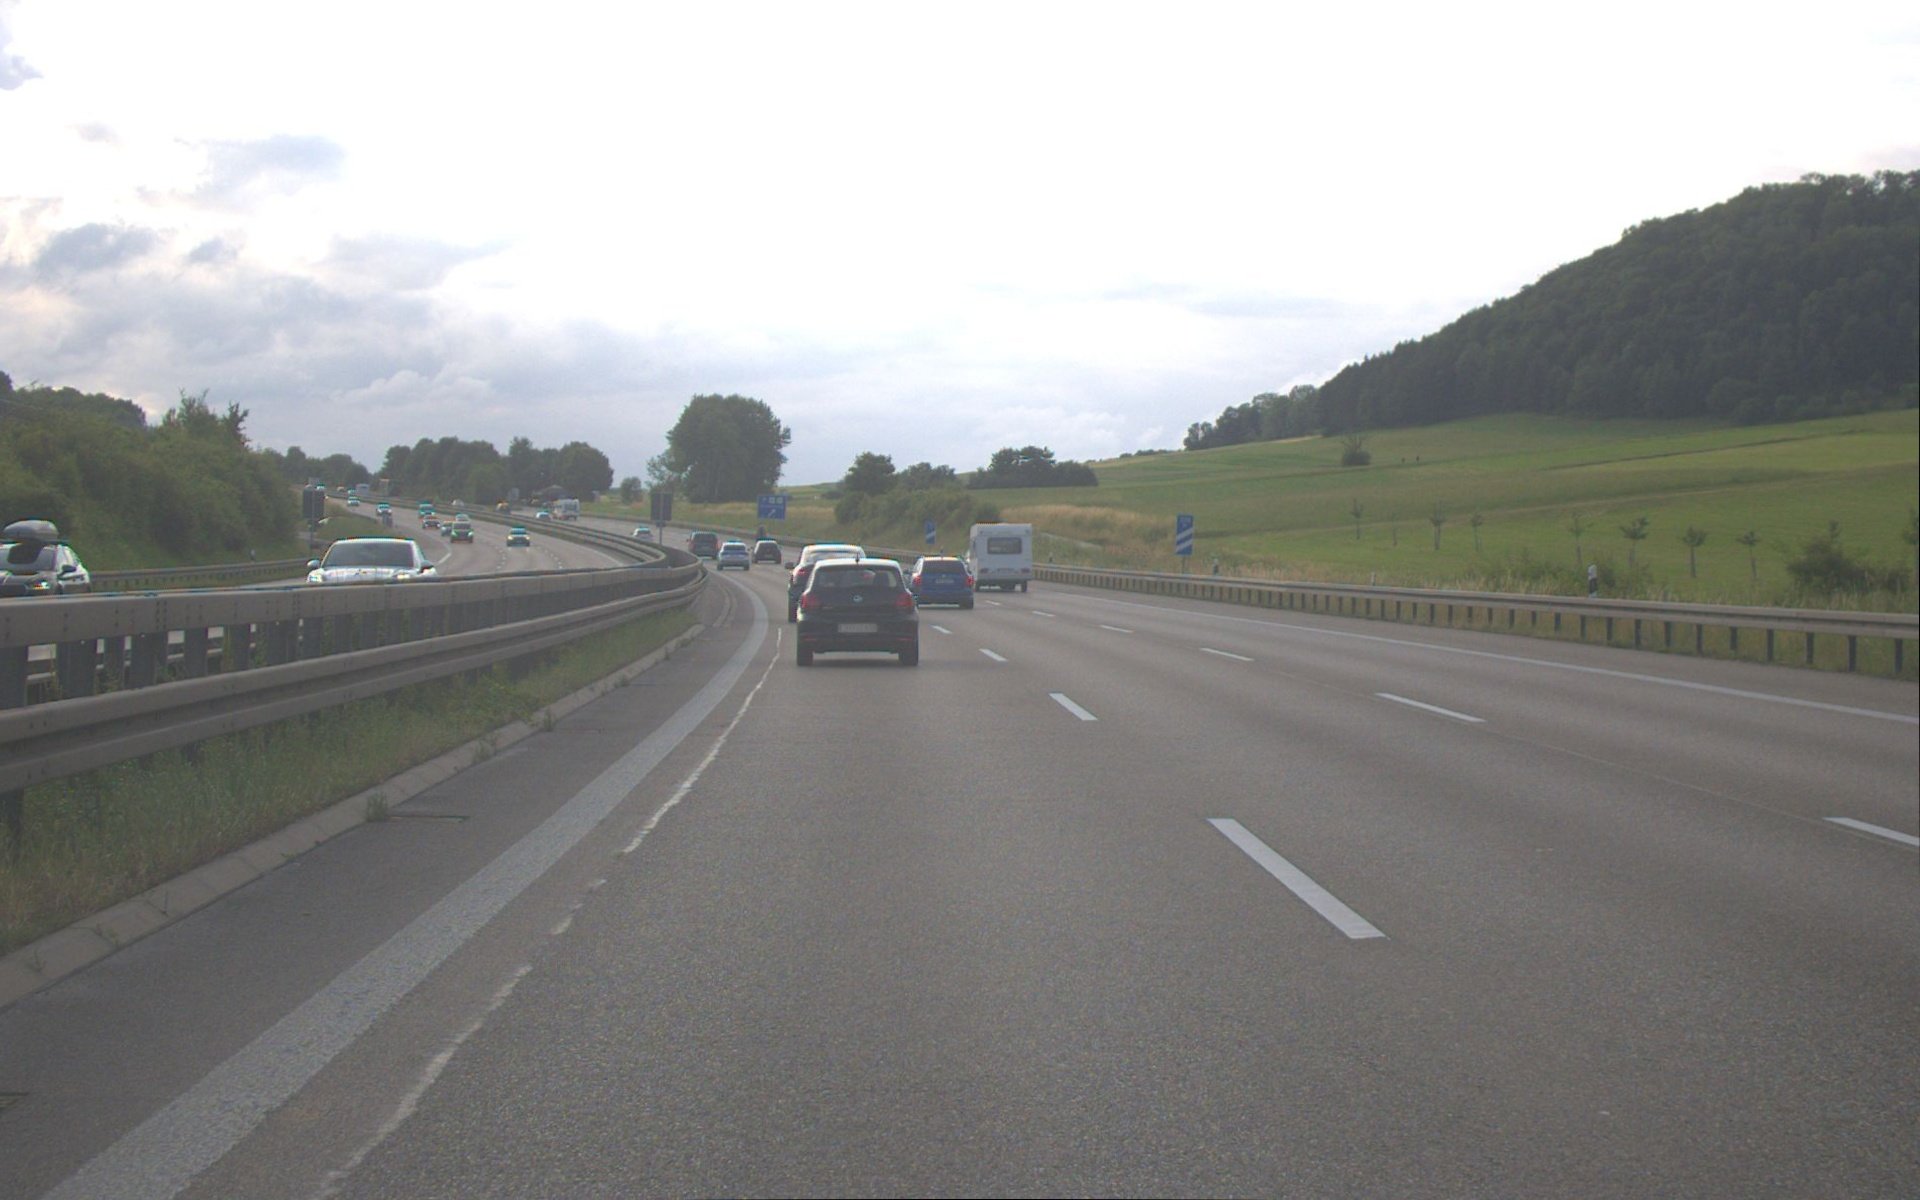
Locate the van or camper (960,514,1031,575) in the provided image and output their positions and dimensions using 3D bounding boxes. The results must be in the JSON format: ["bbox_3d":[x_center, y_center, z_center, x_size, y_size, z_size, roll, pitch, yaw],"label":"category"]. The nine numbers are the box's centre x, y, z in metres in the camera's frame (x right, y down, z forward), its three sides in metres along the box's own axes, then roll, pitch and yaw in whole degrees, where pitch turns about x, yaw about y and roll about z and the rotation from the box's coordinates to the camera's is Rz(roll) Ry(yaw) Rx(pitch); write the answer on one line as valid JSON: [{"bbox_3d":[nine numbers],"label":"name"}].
[{"bbox_3d":[1.356,-2.094,128.868,2.548,2.231,5.329,0,1,2],"label":"van or camper"}]

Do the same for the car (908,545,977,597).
[{"bbox_3d":[-0.507,-0.820,95.282,1.766,1.428,4.000,0,1,-2],"label":"car"}]

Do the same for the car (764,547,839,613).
[{"bbox_3d":[-3.398,-0.451,74.295,1.565,1.376,4.000,0,1,-2],"label":"car"}]

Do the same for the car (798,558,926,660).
[{"bbox_3d":[-1.322,0.099,47.640,1.538,1.343,3.677,0,1,2],"label":"car"}]

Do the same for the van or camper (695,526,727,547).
[{"bbox_3d":[-16.999,-4.337,234.695,1.966,1.428,4.000,1,1,-1],"label":"van or camper"}]

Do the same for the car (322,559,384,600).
[{"bbox_3d":[-21.417,-0.750,121.361,1.706,1.410,4.001,0,1,-4],"label":"car"}]

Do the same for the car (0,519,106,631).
[{"bbox_3d":[-17.693,-0.490,65.088,1.962,2.033,5.020,1,1,-2],"label":"car"}]

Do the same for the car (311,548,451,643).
[{"bbox_3d":[-10.183,-0.112,60.780,1.833,1.586,5.020,1,1,-2],"label":"car"}]

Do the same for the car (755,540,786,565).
[{"bbox_3d":[-12.234,-3.081,222.503,1.957,1.568,4.001,0,1,-3],"label":"car"}]
